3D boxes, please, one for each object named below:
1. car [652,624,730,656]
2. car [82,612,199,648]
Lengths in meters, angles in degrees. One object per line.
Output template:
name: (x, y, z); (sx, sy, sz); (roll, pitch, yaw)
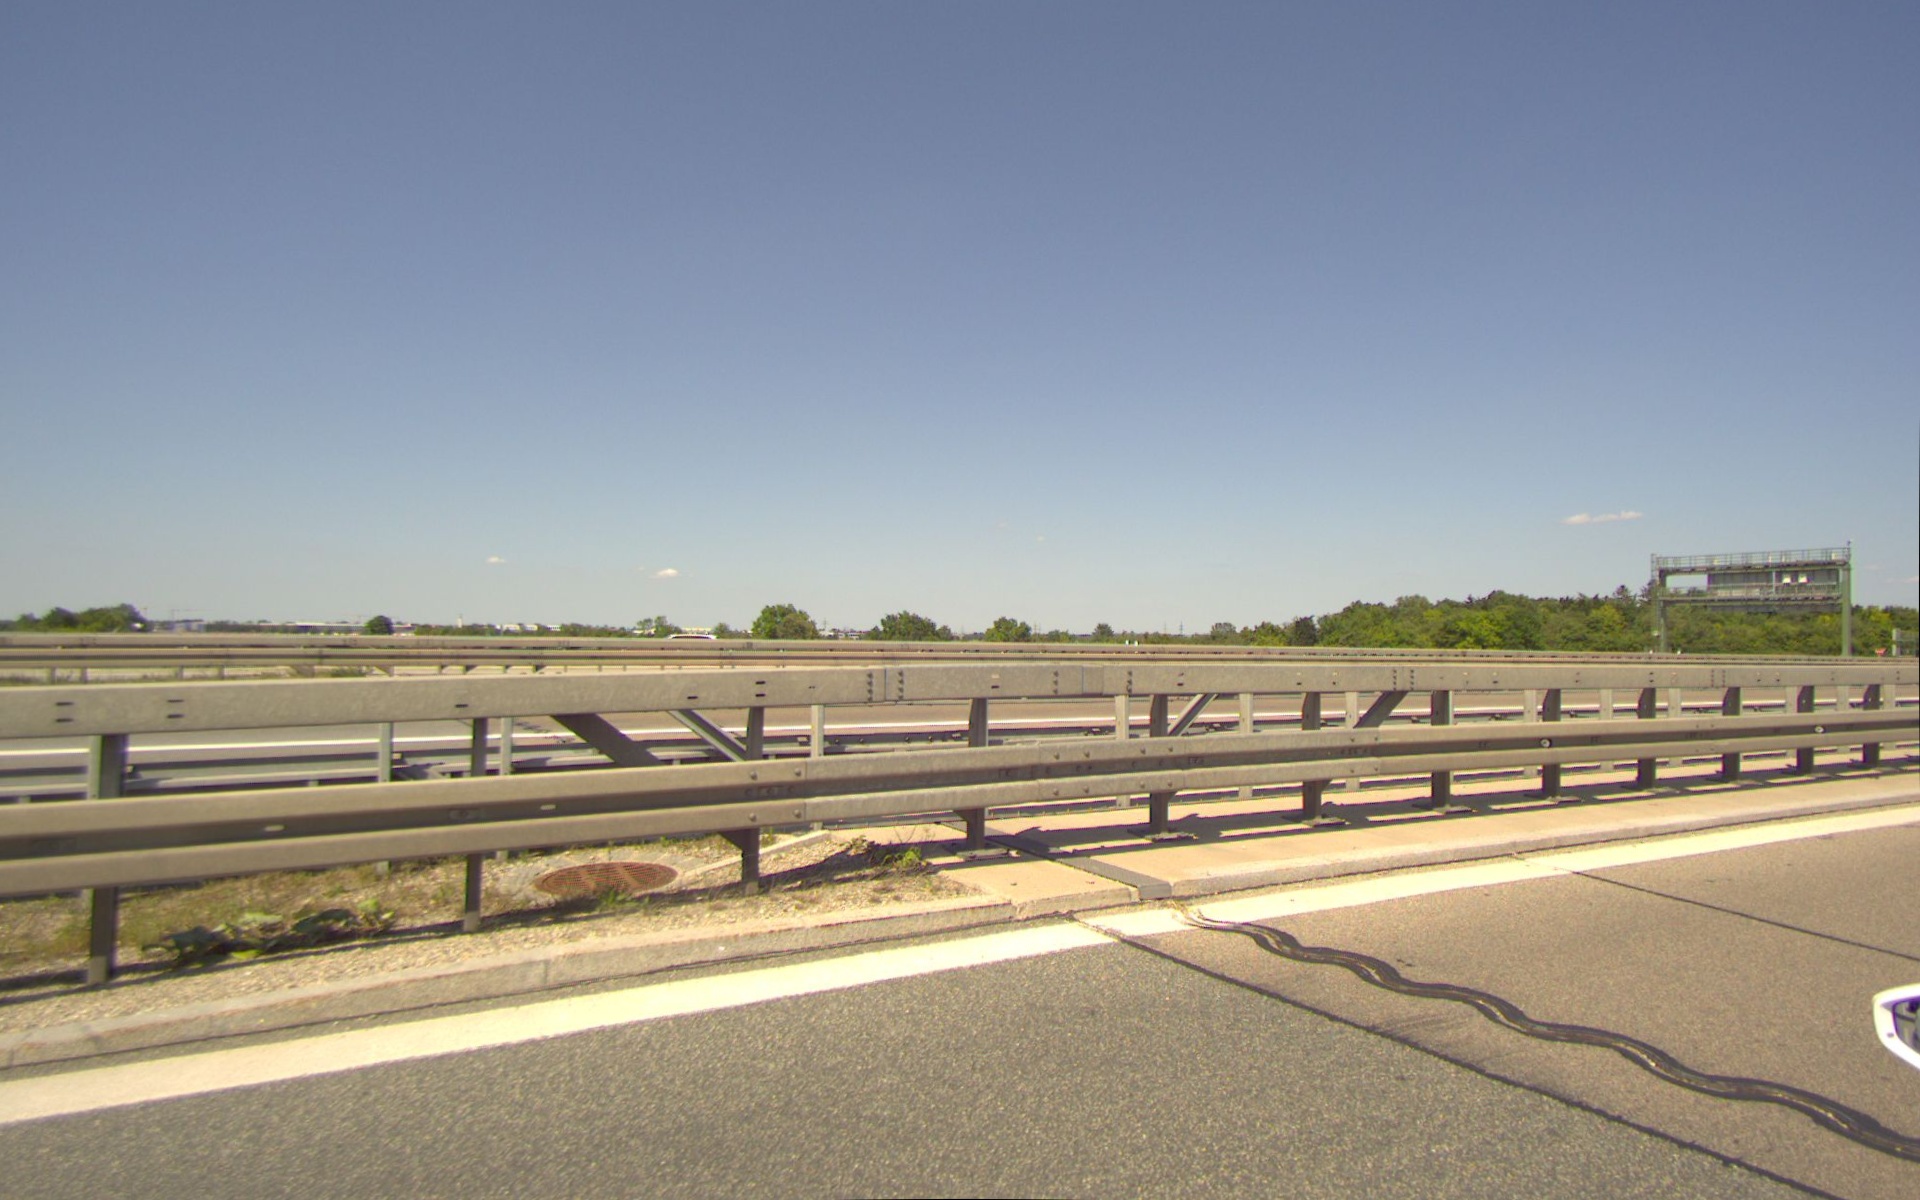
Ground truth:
car: (-12.719, 1.894, 47.498); (3.302, 1.372, 1.572); (3, -2, -28)
car: (-32.452, 1.185, 39.890); (3.301, 1.372, 1.572); (2, -2, -28)
